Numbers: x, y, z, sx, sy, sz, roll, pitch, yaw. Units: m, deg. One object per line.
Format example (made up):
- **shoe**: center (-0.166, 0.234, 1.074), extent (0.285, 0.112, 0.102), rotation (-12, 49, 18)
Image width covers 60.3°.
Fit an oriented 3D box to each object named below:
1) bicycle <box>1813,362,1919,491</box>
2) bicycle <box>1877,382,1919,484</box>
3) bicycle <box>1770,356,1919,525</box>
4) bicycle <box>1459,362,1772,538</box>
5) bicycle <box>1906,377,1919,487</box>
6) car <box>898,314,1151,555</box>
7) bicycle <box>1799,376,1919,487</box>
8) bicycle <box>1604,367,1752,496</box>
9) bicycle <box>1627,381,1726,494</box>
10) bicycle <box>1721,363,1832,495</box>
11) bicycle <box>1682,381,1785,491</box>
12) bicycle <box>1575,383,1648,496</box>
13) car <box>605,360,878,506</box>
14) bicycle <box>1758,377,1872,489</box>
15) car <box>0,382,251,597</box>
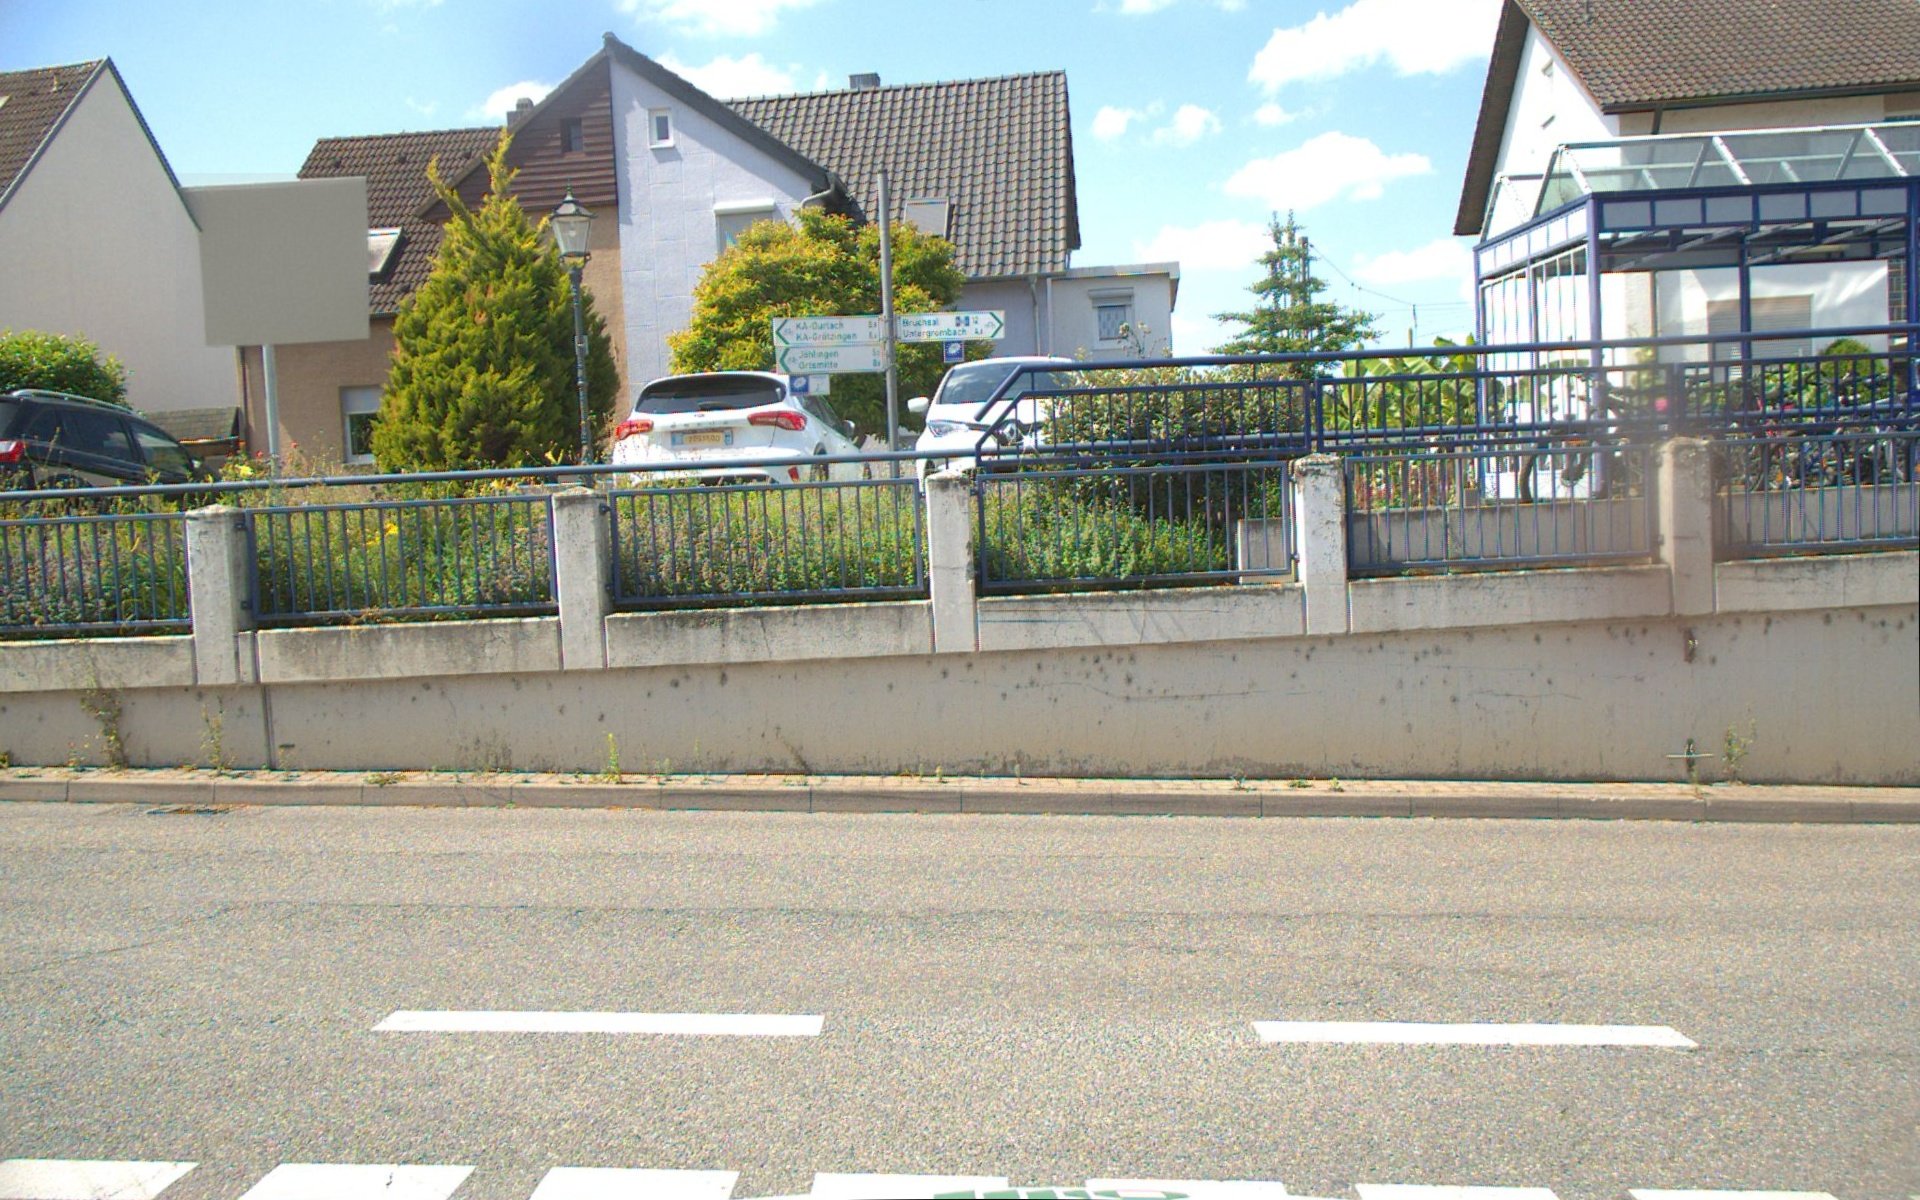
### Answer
- **bicycle**: center (7.880, -1.449, 14.161), extent (0.426, 1.012, 2.105), rotation (-1, 3, 11)
- **bicycle**: center (9.912, -1.686, 16.440), extent (0.464, 1.012, 1.966), rotation (-2, 3, -1)
- **bicycle**: center (6.864, -1.144, 11.728), extent (2.072, 1.145, 0.392), rotation (-2, 3, -2)
- **bicycle**: center (4.606, -1.051, 11.645), extent (2.072, 1.145, 0.333), rotation (-2, 3, -2)
- **bicycle**: center (8.975, -1.505, 14.401), extent (0.426, 1.012, 2.284), rotation (-2, 3, 7)
- **car**: center (0.662, -1.360, 15.034), extent (1.951, 1.828, 4.199), rotation (1, 1, 4)
- **bicycle**: center (9.083, -1.660, 16.569), extent (0.417, 1.012, 1.967), rotation (-2, 3, 2)
- **bicycle**: center (6.218, -1.432, 14.432), extent (0.325, 1.012, 2.076), rotation (-2, 3, -2)
- **bicycle**: center (6.996, -1.559, 16.219), extent (0.365, 1.012, 1.968), rotation (-2, 3, 8)
- **bicycle**: center (6.874, -1.400, 13.991), extent (0.426, 1.012, 2.104), rotation (-1, 3, 15)
- **bicycle**: center (7.742, -1.610, 16.615), extent (0.365, 1.012, 1.968), rotation (-2, 3, 8)
- **bicycle**: center (6.316, -1.525, 16.080), extent (0.445, 1.012, 1.890), rotation (-1, 3, 15)
- **car**: center (-1.870, -1.458, 15.200), extent (1.786, 1.037, 3.462), rotation (1, 1, 4)
- **bicycle**: center (8.455, -1.627, 16.417), extent (0.365, 1.012, 1.968), rotation (-2, 3, 8)
- **car**: center (-8.832, -1.003, 16.170), extent (1.828, 1.828, 4.003), rotation (1, 1, 4)
